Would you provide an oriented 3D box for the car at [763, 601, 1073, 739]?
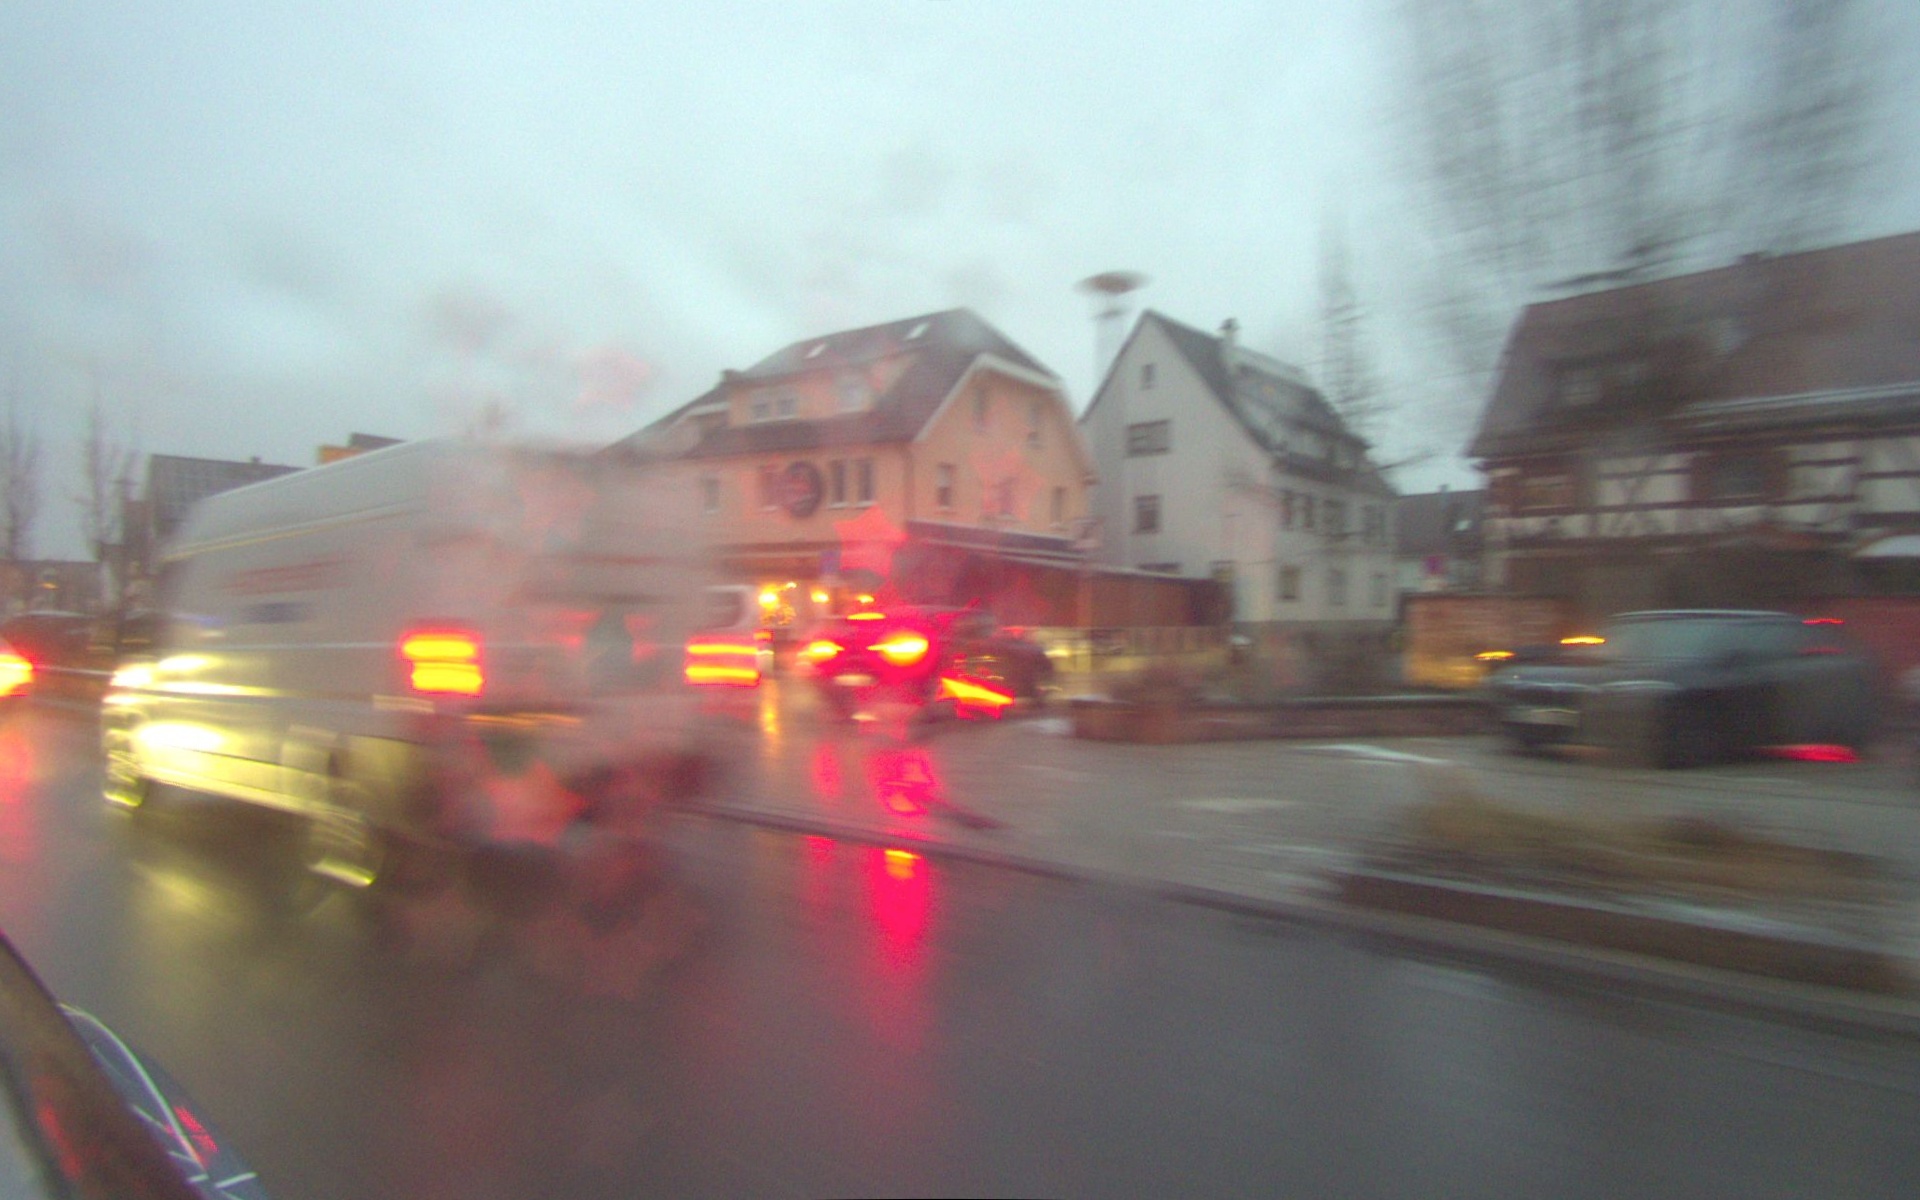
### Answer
[{"bbox_3d":[-0.436,0.904,14.515,2.152,1.645,4.393,-1,-2,37],"label":"car"}]

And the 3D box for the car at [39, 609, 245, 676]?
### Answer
[{"bbox_3d":[-24.016,1.252,29.862,1.841,1.815,4.374,-2,-3,36],"label":"car"}]

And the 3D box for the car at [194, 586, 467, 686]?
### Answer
[{"bbox_3d":[-11.843,0.693,19.267,1.996,1.697,3.951,-2,-3,36],"label":"car"}]

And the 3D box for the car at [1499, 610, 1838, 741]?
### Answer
[{"bbox_3d":[10.728,1.044,15.536,1.695,1.741,4.004,0,-1,-43],"label":"car"}]

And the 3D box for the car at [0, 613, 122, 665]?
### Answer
[{"bbox_3d":[-36.332,1.612,40.608,1.746,1.966,3.761,-2,-5,36],"label":"car"}]

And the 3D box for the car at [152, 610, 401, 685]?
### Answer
[{"bbox_3d":[-17.132,1.204,25.604,1.997,1.697,4.818,-3,-4,38],"label":"car"}]

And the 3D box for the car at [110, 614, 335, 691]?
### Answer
[{"bbox_3d":[-19.604,1.368,27.097,1.996,1.881,4.462,-2,-3,36],"label":"car"}]

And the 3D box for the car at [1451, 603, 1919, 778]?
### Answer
[{"bbox_3d":[7.084,0.843,9.976,3.866,1.470,1.768,1,-3,-18],"label":"car"}]

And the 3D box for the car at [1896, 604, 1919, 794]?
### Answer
[{"bbox_3d":[9.608,0.787,7.841,4.003,1.470,1.763,1,-2,-19],"label":"car"}]

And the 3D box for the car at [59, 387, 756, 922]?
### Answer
[{"bbox_3d":[-4.404,0.341,7.486,6.132,2.509,2.174,-2,-3,37],"label":"car"}]

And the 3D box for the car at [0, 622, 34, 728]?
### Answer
[{"bbox_3d":[-16.024,1.116,15.479,4.538,1.530,1.810,-2,-3,36],"label":"car"}]

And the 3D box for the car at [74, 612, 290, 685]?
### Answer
[{"bbox_3d":[-21.775,1.355,28.491,1.865,1.881,4.462,-2,-3,36],"label":"car"}]
